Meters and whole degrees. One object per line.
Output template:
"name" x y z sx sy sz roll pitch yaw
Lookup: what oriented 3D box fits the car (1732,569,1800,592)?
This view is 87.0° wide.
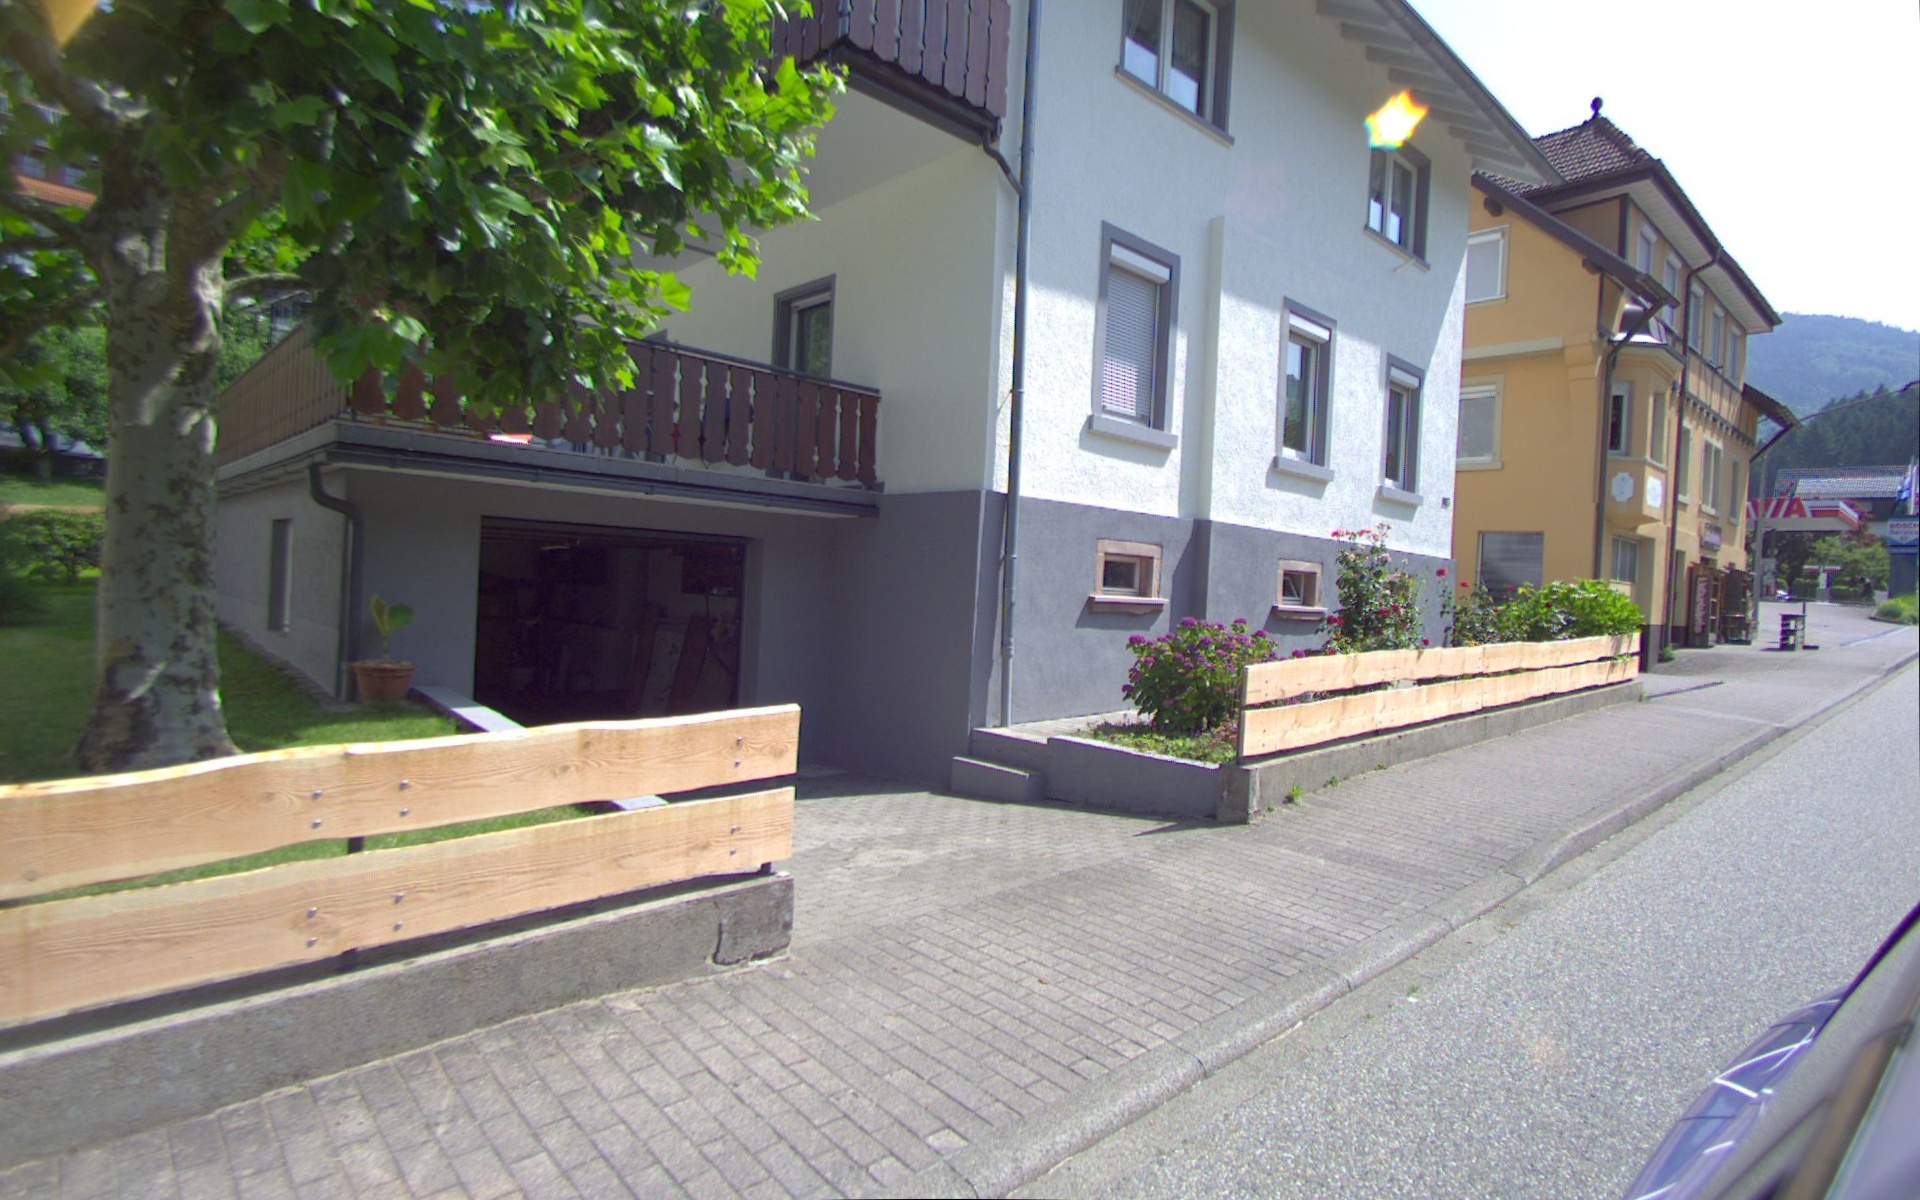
"car" 50.085 -1.225 62.903 1.313 1.157 3.079 -1 8 -43

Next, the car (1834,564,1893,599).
"car" 46.568 -0.994 52.149 3.844 1.595 1.696 -1 7 -42
